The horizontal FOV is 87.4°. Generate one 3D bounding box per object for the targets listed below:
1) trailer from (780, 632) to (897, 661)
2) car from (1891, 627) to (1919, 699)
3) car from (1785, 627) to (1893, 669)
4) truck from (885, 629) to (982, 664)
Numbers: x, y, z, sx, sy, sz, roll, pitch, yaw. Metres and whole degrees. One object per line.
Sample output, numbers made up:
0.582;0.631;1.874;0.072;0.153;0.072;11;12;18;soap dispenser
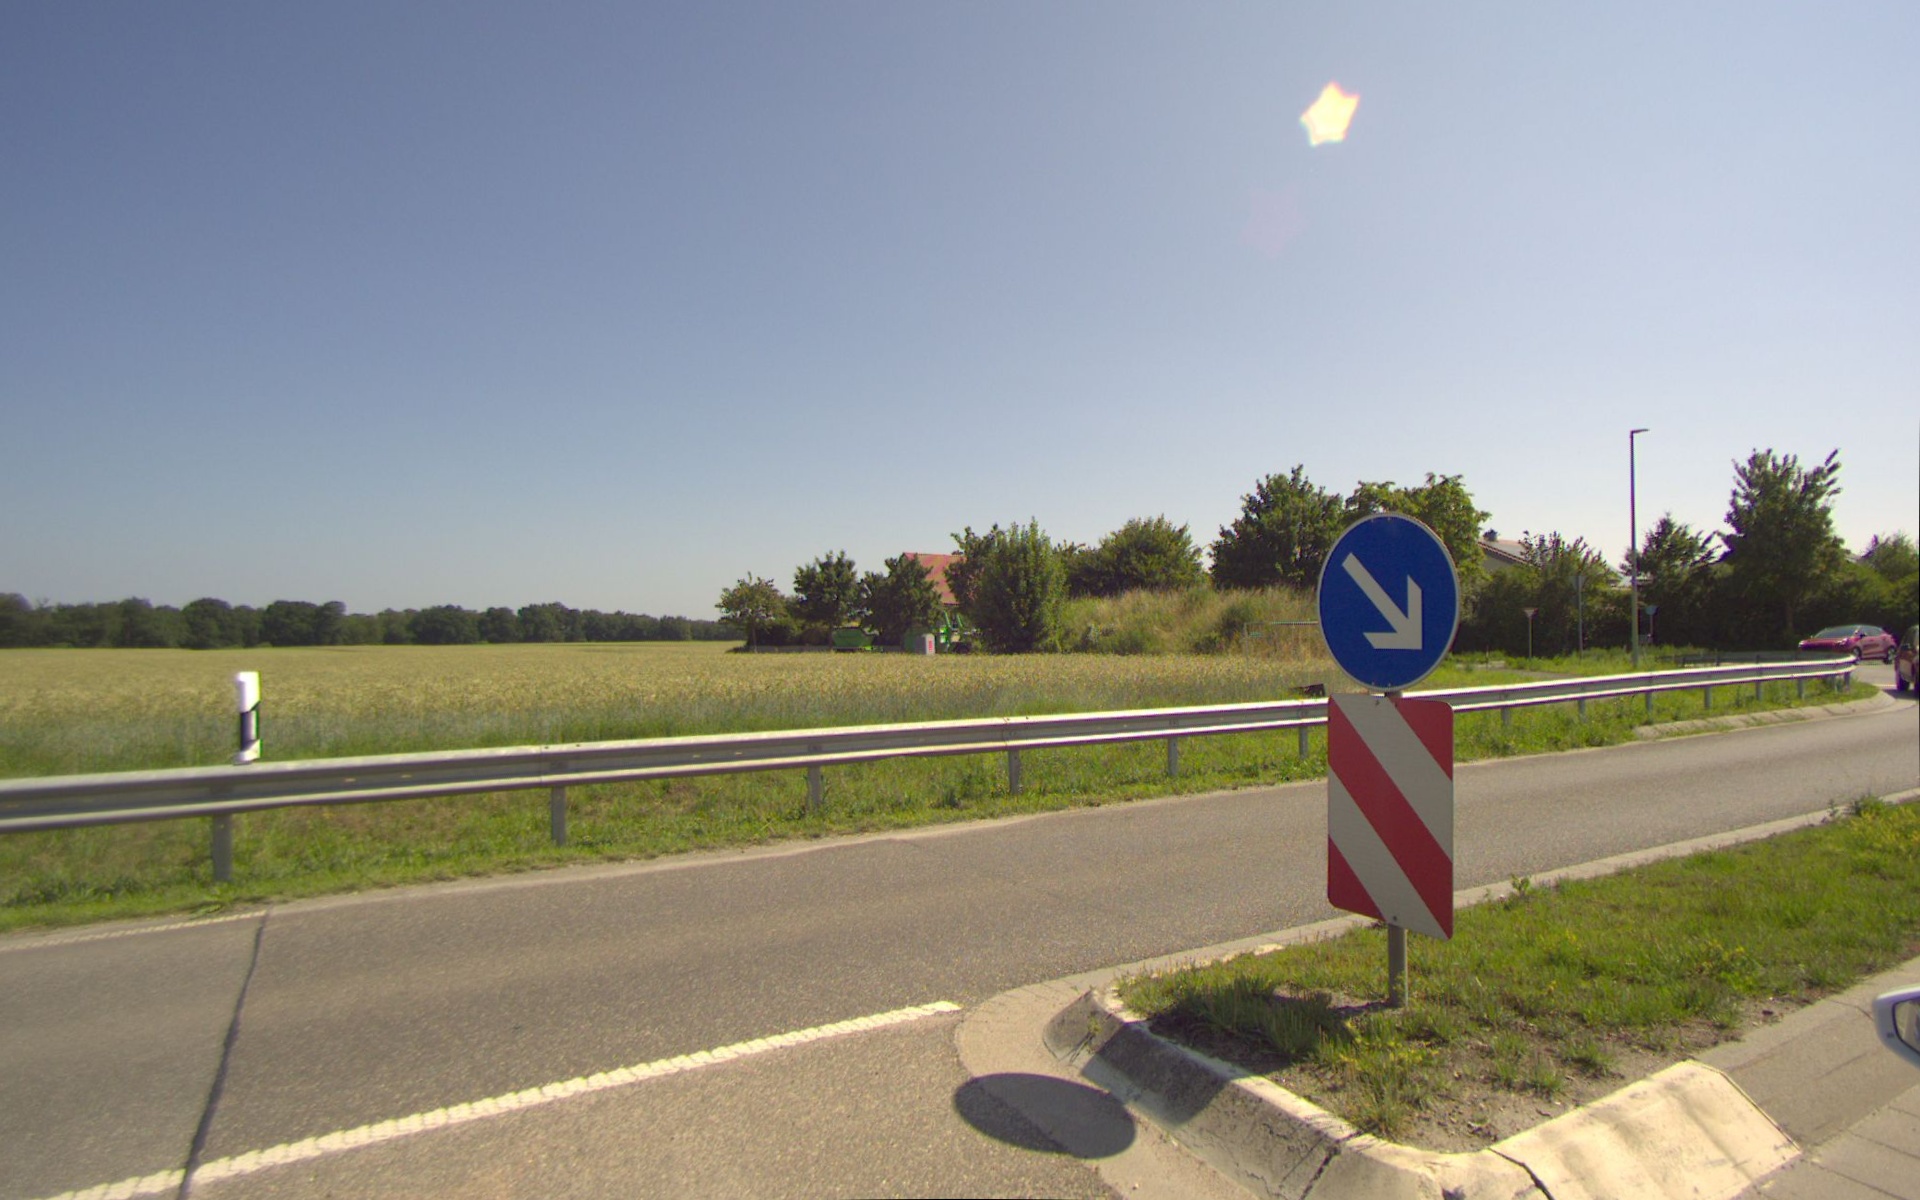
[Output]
-10.347;3.895;85.222;10.292;2.308;1.999;0;-2;24;trailer
21.826;1.391;22.110;1.607;1.510;3.787;-3;-4;38;car
34.579;1.888;39.509;3.777;1.542;1.740;0;-3;-24;car
-2.170;3.748;81.691;7.540;2.684;2.520;0;-2;24;truck
